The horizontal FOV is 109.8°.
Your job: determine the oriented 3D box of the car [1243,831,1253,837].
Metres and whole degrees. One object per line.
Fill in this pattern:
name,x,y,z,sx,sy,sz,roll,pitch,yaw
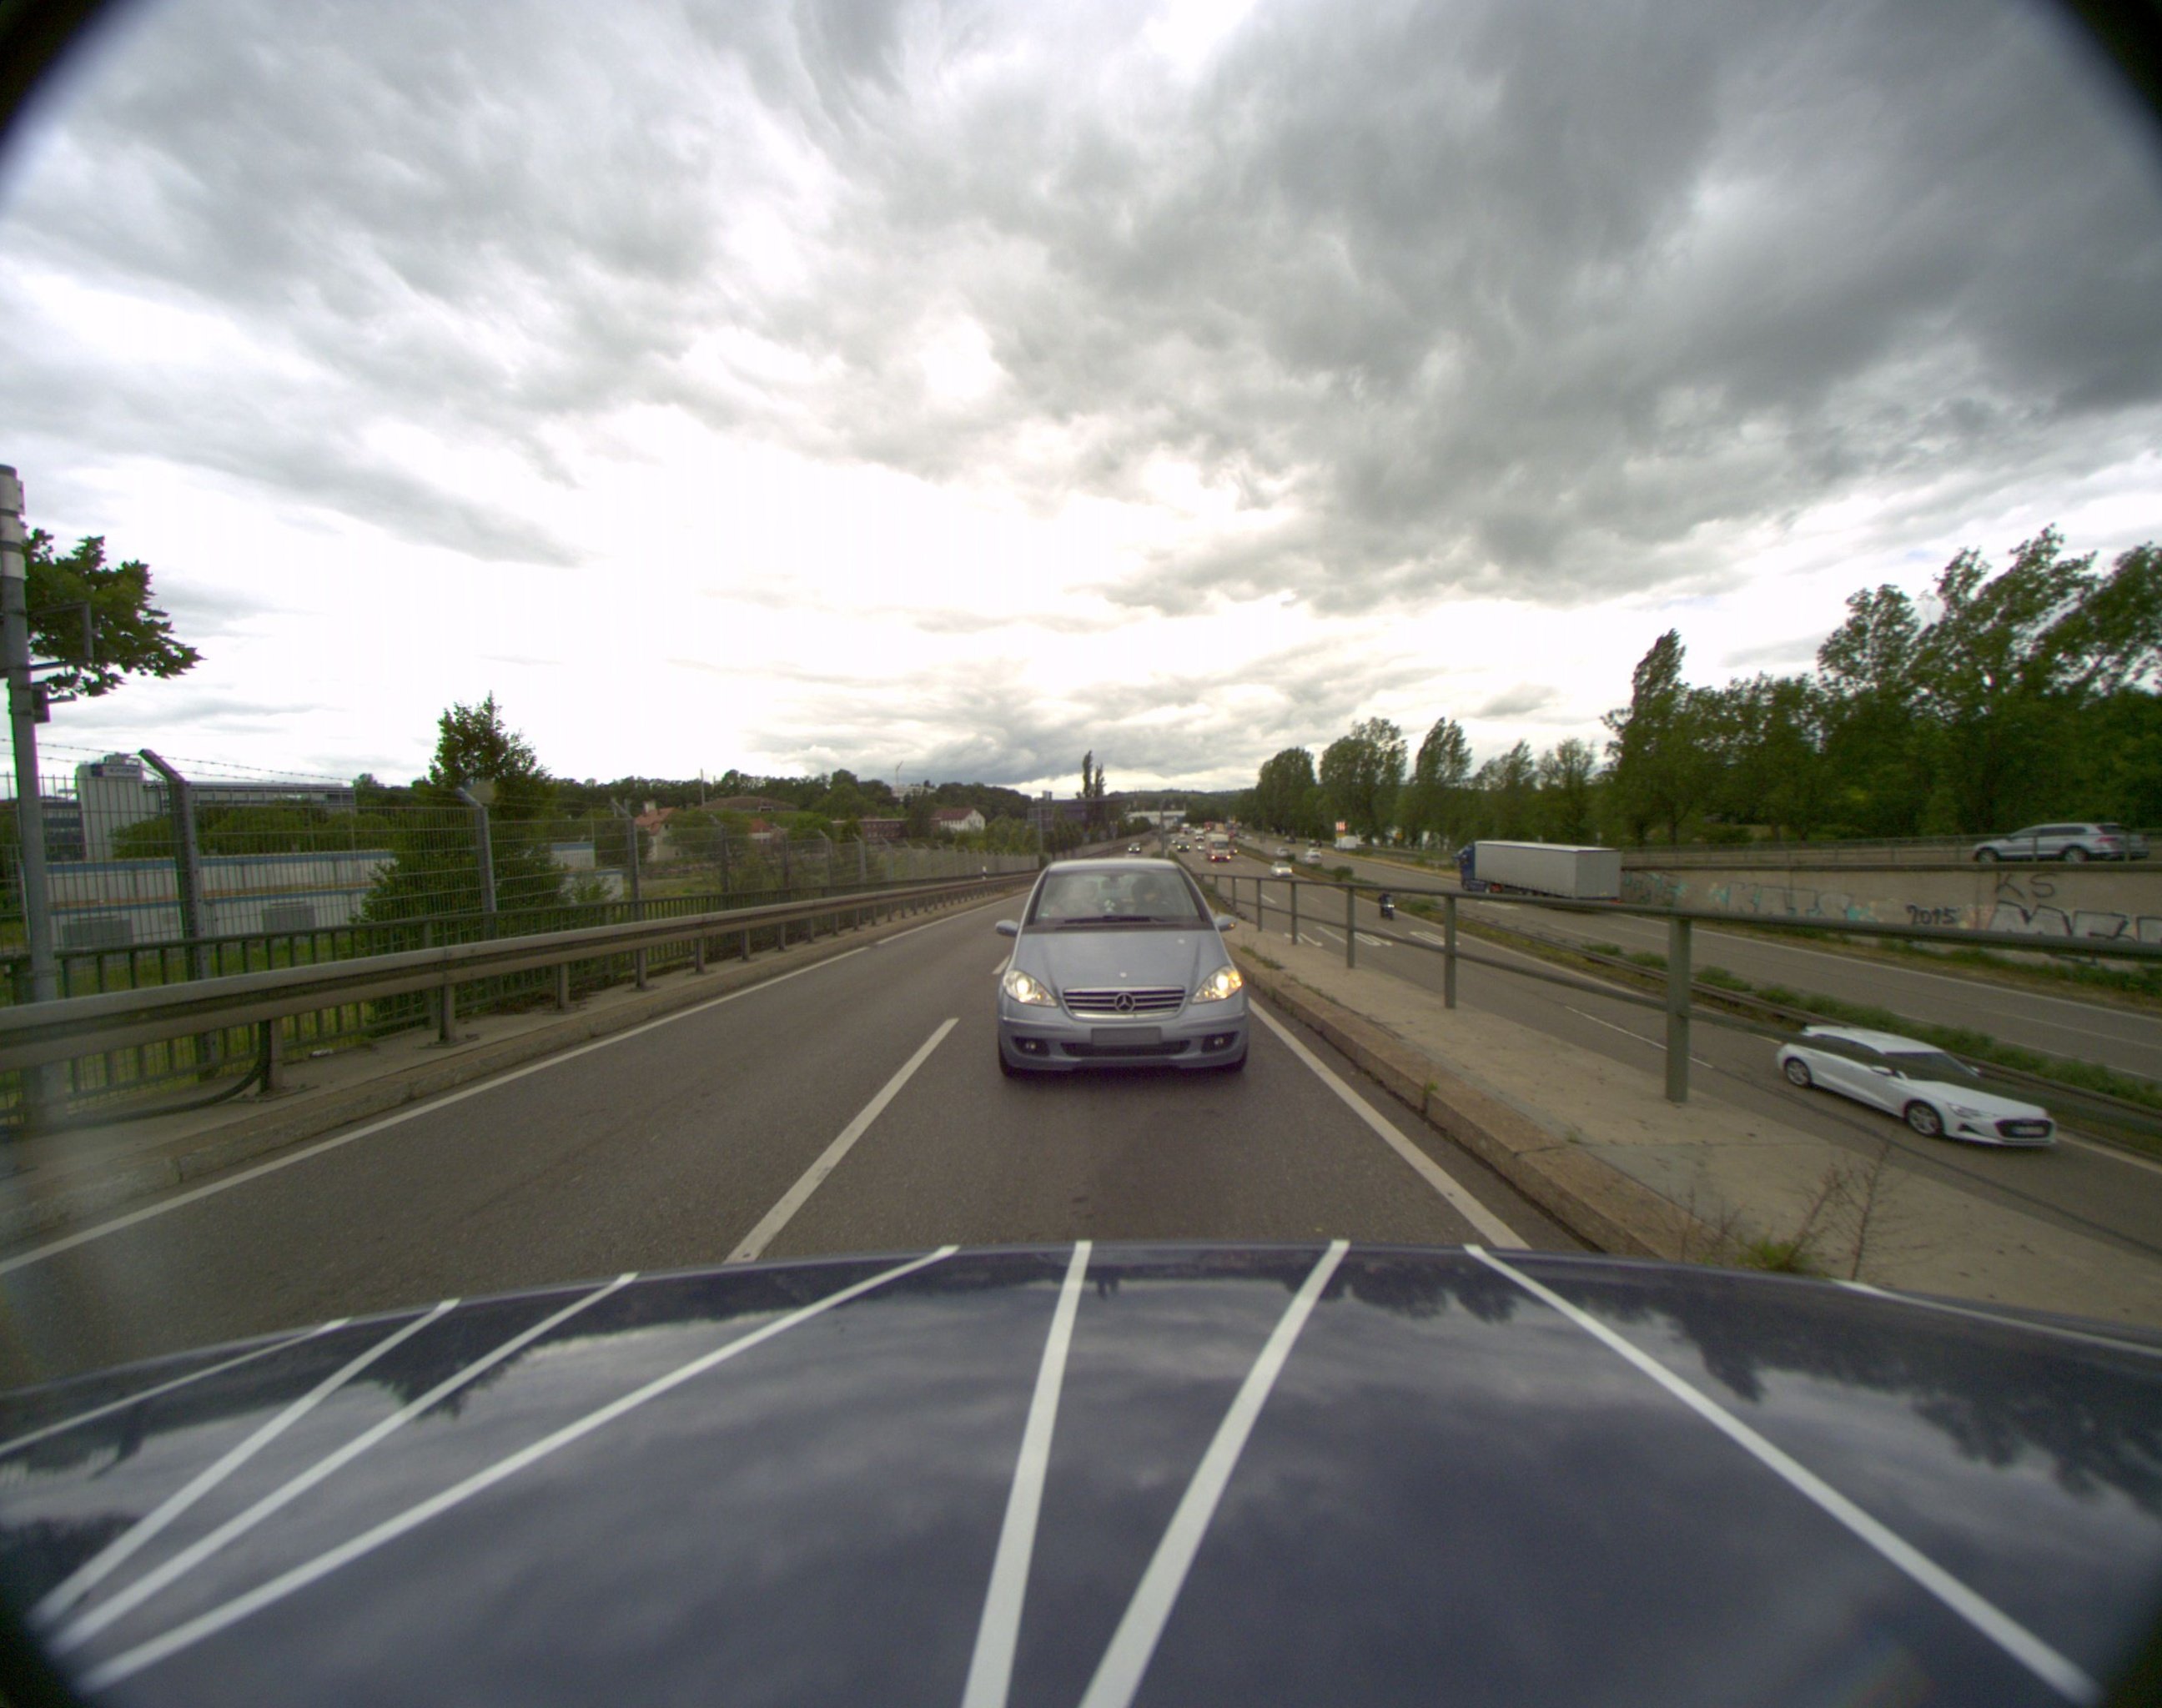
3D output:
car,43.999,-5.171,199.785,1.998,1.412,3.999,-1,3,4

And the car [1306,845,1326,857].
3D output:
car,32.336,-0.413,104.725,1.682,1.412,3.999,0,3,4

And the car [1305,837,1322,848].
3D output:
car,44.860,-2.238,146.533,1.886,1.807,4.560,2,3,2

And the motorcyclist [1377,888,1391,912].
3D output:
motorcyclist,18.398,2.770,46.137,0.595,1.364,0.761,-2,3,2

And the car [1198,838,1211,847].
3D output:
car,21.624,-2.009,133.303,1.789,1.294,4.151,0,3,2

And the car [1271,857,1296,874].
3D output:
car,20.497,1.131,77.068,1.696,1.524,3.607,-1,3,2

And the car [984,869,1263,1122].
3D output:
car,0.300,0.931,6.773,1.743,1.534,3.993,-1,0,1

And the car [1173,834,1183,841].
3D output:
car,21.506,-3.692,168.545,1.828,1.443,4.125,0,3,1

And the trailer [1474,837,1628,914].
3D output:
trailer,31.716,1.153,52.385,2.793,4.117,13.759,-1,3,4

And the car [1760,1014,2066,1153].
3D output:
car,17.045,4.627,15.983,1.622,1.414,4.414,-1,3,2

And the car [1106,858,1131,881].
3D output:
car,2.937,1.197,60.355,1.830,1.701,4.001,-2,-1,1

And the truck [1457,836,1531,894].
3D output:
truck,32.136,0.746,59.343,2.793,4.117,5.933,-1,3,4

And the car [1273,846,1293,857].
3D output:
car,29.020,-0.409,109.019,1.998,1.412,3.999,2,3,4

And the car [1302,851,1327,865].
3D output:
car,27.965,0.422,91.147,1.998,1.412,3.999,2,3,4

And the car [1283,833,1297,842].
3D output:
car,45.728,-3.586,166.430,1.886,1.807,4.560,2,3,2

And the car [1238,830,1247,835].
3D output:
car,46.046,-6.231,217.020,1.998,1.412,3.999,-1,3,4

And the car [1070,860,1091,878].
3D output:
car,-0.030,1.312,67.720,1.589,1.423,3.443,-2,1,4

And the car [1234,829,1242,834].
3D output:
car,49.643,-7.173,240.866,1.998,1.412,3.999,-1,3,4

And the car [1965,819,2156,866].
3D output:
car,38.498,-0.432,30.071,1.898,1.642,4.377,-3,0,0

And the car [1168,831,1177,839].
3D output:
car,23.095,-4.851,191.948,1.998,2.003,3.999,1,3,3

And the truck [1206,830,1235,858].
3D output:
truck,19.096,-1.453,104.607,2.888,3.506,9.870,1,3,4

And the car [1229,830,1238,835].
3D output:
car,44.626,-6.287,222.308,1.998,1.412,3.999,-1,3,4

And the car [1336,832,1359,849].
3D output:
car,44.300,-2.245,126.521,1.998,2.635,5.179,2,3,2

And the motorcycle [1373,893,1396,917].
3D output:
motorcycle,18.404,3.071,46.053,0.595,1.197,2.125,-2,3,2

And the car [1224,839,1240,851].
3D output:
car,23.573,-1.416,118.575,1.834,1.570,4.181,-2,4,2

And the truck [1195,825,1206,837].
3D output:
truck,30.100,-5.808,191.392,2.238,2.993,7.231,-1,3,6

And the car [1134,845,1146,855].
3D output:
car,10.079,-0.632,129.479,1.799,1.643,4.153,-2,-1,8

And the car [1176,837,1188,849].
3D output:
car,17.276,-1.933,130.431,1.997,1.830,4.425,0,3,7

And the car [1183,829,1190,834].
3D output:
car,32.174,-6.967,232.001,1.769,1.520,3.334,0,3,1

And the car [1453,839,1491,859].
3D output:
car,42.205,-0.537,82.205,1.998,1.890,4.583,2,3,5
